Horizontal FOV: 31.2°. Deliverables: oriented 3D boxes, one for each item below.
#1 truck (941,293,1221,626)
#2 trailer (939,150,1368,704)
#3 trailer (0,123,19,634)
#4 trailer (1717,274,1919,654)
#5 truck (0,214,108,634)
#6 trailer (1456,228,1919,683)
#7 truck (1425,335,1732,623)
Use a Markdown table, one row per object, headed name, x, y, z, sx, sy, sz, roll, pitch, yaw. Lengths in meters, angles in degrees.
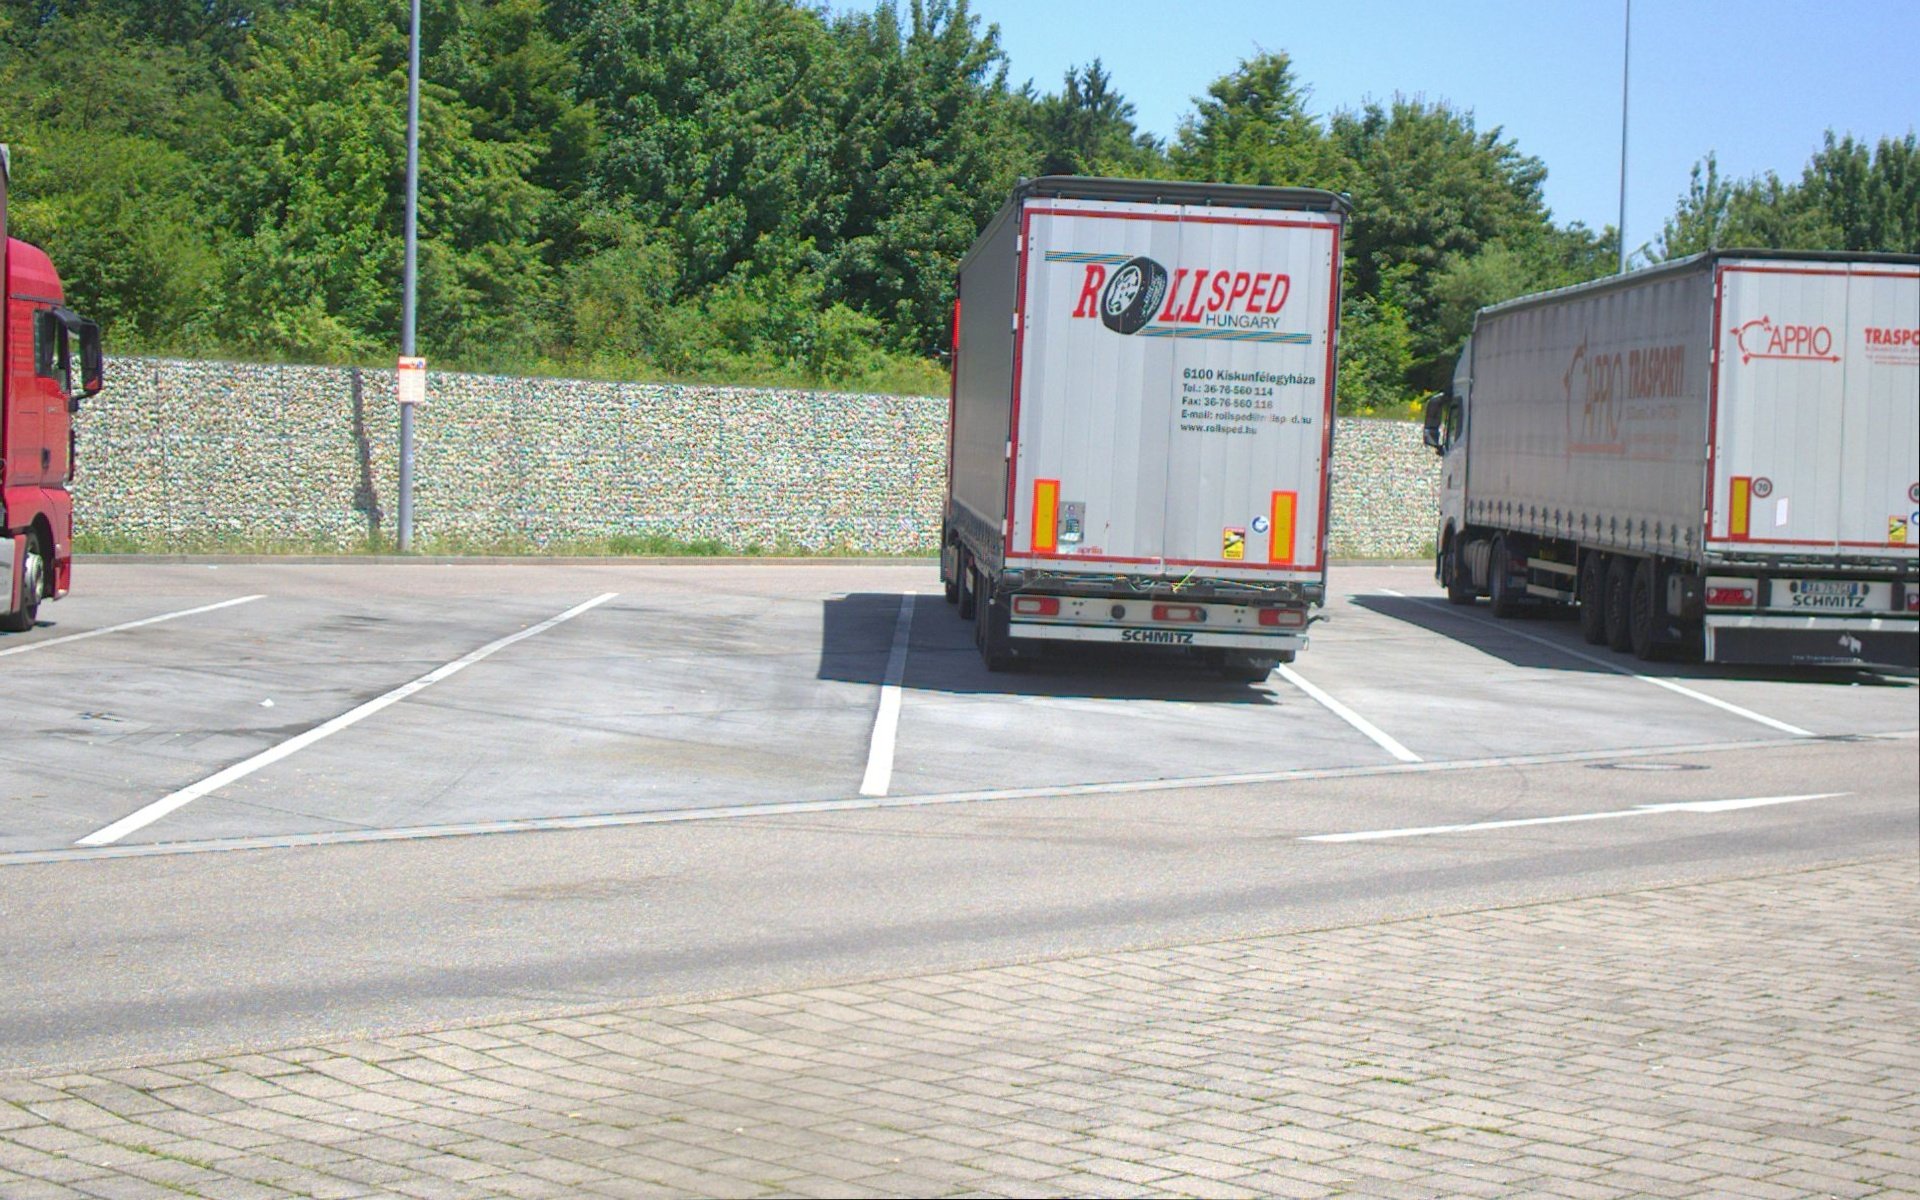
| name | x | y | z | sx | sy | sz | roll | pitch | yaw |
| --- | --- | --- | --- | --- | --- | --- | --- | --- | --- |
| truck | 1.284 | -1.631 | 39.790 | 2.852 | 3.472 | 5.483 | 2 | 2 | -1 |
| trailer | 1.432 | -1.624 | 33.177 | 2.906 | 4.118 | 13.725 | 2 | 3 | -1 |
| trailer | -9.156 | -1.493 | 21.283 | 2.906 | 4.118 | 13.725 | 2 | 3 | -1 |
| trailer | 11.787 | -1.529 | 39.418 | 2.838 | 4.118 | 13.724 | 2 | 3 | -1 |
| truck | -9.245 | -1.509 | 28.721 | 2.852 | 3.416 | 5.483 | 2 | 2 | -1 |
| trailer | 8.150 | -1.627 | 38.666 | 2.838 | 4.118 | 13.724 | 2 | 3 | -1 |
| truck | 8.058 | -1.625 | 45.479 | 2.852 | 3.472 | 5.483 | 2 | 2 | -1 |
